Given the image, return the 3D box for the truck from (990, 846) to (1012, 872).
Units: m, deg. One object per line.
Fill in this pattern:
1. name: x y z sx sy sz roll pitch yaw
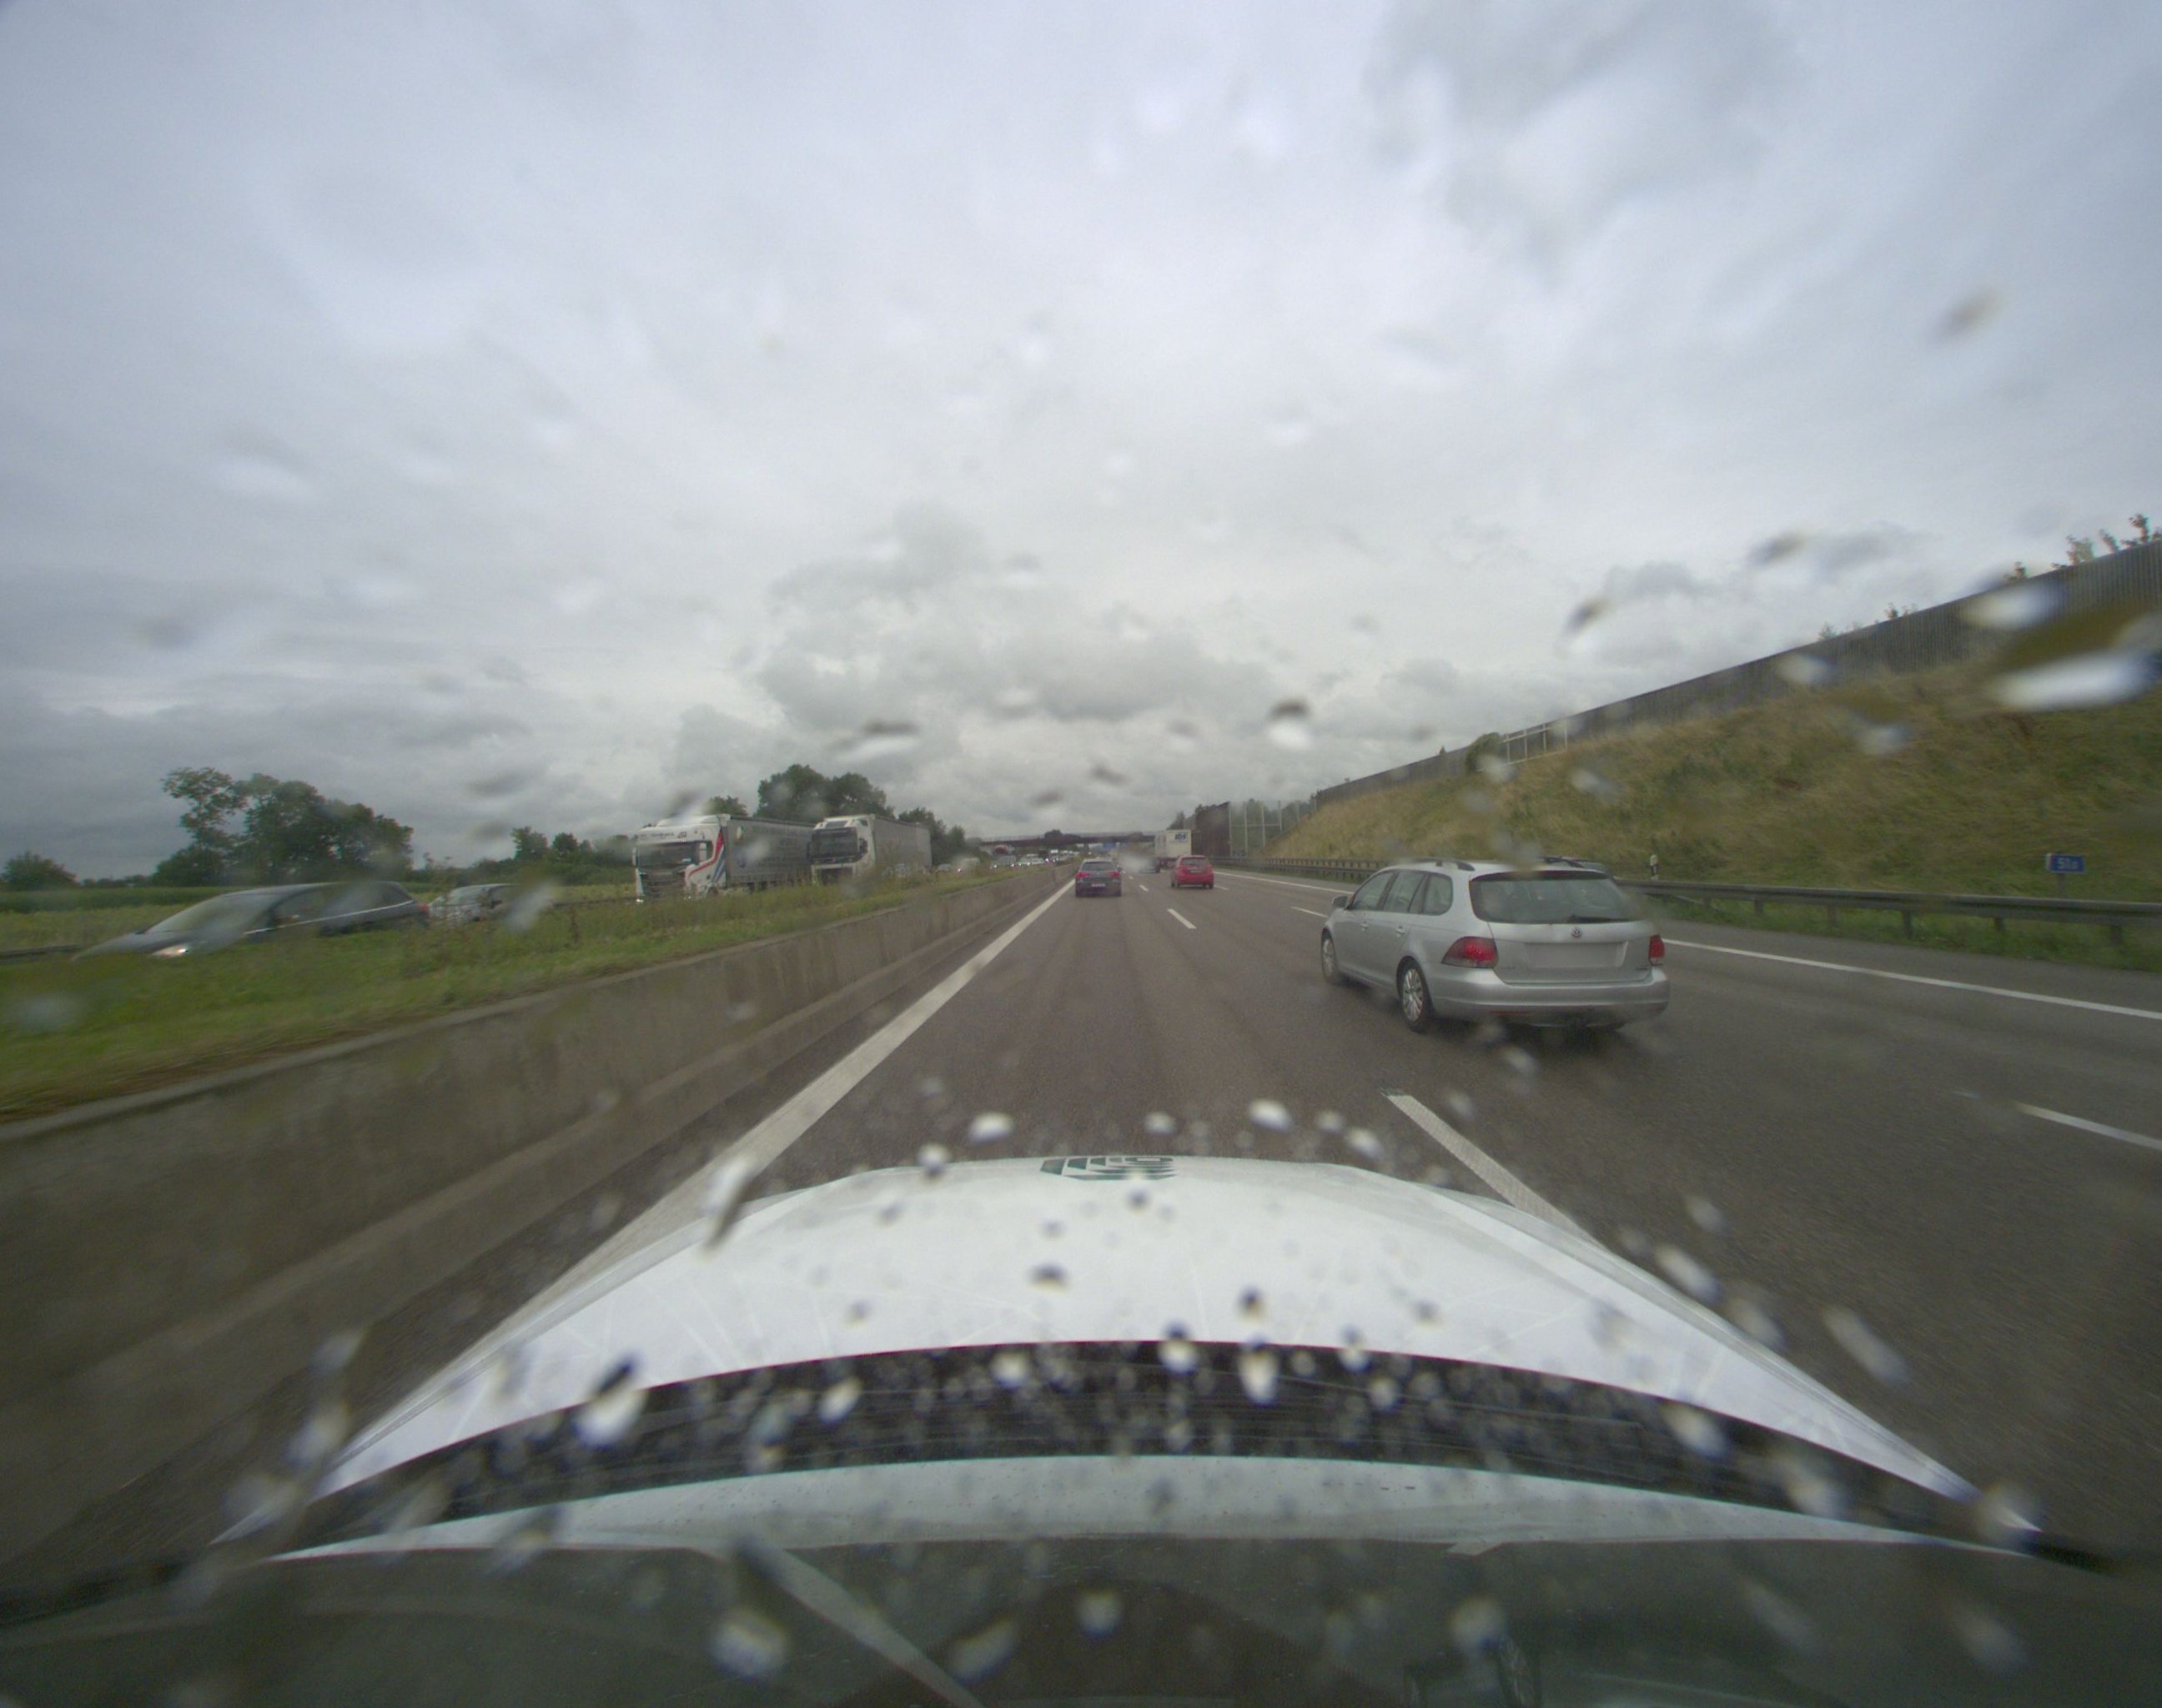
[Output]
1. truck: -13.339 0.832 135.794 2.946 4.242 6.236 0 -1 1

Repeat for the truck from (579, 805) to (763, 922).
1. truck: -16.593 0.386 33.841 3.602 4.275 7.594 0 -1 2

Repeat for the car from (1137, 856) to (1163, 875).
1. car: 5.880 0.926 69.774 1.914 1.522 4.623 -1 0 1

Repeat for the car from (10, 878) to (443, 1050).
1. car: -12.718 1.487 12.665 1.986 2.013 4.362 -2 0 2

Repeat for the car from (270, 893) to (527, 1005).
1. car: -15.670 2.075 19.132 1.986 2.013 4.623 -2 0 2

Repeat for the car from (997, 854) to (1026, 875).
1. car: -6.317 0.896 74.787 1.986 1.764 5.073 -3 0 1

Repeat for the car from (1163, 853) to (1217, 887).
1. car: 4.998 0.712 37.824 1.884 1.446 4.685 -1 0 1

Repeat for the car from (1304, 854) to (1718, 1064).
1. car: 3.641 0.747 7.994 1.735 1.425 4.518 -2 0 1

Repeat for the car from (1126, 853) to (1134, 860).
1. car: 13.502 0.755 225.686 1.986 1.812 4.229 -3 0 2

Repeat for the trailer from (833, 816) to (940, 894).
1. trailer: -11.336 0.100 49.082 3.074 4.089 12.334 0 -1 2

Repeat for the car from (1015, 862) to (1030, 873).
1. car: -9.727 2.246 136.214 2.086 1.710 5.165 -1 0 1

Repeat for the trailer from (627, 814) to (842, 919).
1. trailer: -16.424 0.585 41.013 3.699 4.271 15.630 0 -1 2

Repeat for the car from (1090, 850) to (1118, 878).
1. car: 1.650 0.722 58.441 1.819 1.850 4.001 -2 0 1

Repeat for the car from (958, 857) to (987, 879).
1. car: -10.323 1.287 77.954 1.876 1.924 5.279 -2 0 1

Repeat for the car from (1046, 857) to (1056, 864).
1. car: -7.300 1.545 201.122 2.085 1.710 4.803 -1 0 3

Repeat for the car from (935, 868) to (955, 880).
1. car: -17.603 2.585 105.643 1.878 1.595 3.999 0 -1 0

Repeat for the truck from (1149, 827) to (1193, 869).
1. truck: 9.993 -0.527 92.337 3.271 4.295 19.036 0 -1 1

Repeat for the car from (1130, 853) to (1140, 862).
1. car: 11.003 0.763 165.548 1.839 1.687 4.000 0 -1 1

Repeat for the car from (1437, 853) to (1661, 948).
1. car: 7.828 0.716 14.081 1.696 1.401 3.876 0 -1 1

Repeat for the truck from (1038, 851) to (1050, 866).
1. truck: -9.938 1.184 220.888 2.747 4.050 6.257 0 -1 2

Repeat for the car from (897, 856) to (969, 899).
1. car: -6.460 0.975 36.159 2.085 1.710 4.803 -1 0 3

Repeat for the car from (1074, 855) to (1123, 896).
1. car: 0.685 0.802 31.603 1.762 1.467 4.000 0 -1 1

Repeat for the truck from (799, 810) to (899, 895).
1. truck: -11.624 -0.051 41.439 3.081 3.976 6.374 0 -1 2

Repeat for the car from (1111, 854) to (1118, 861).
1. car: 9.630 0.951 235.635 1.986 2.014 4.243 0 -1 2
